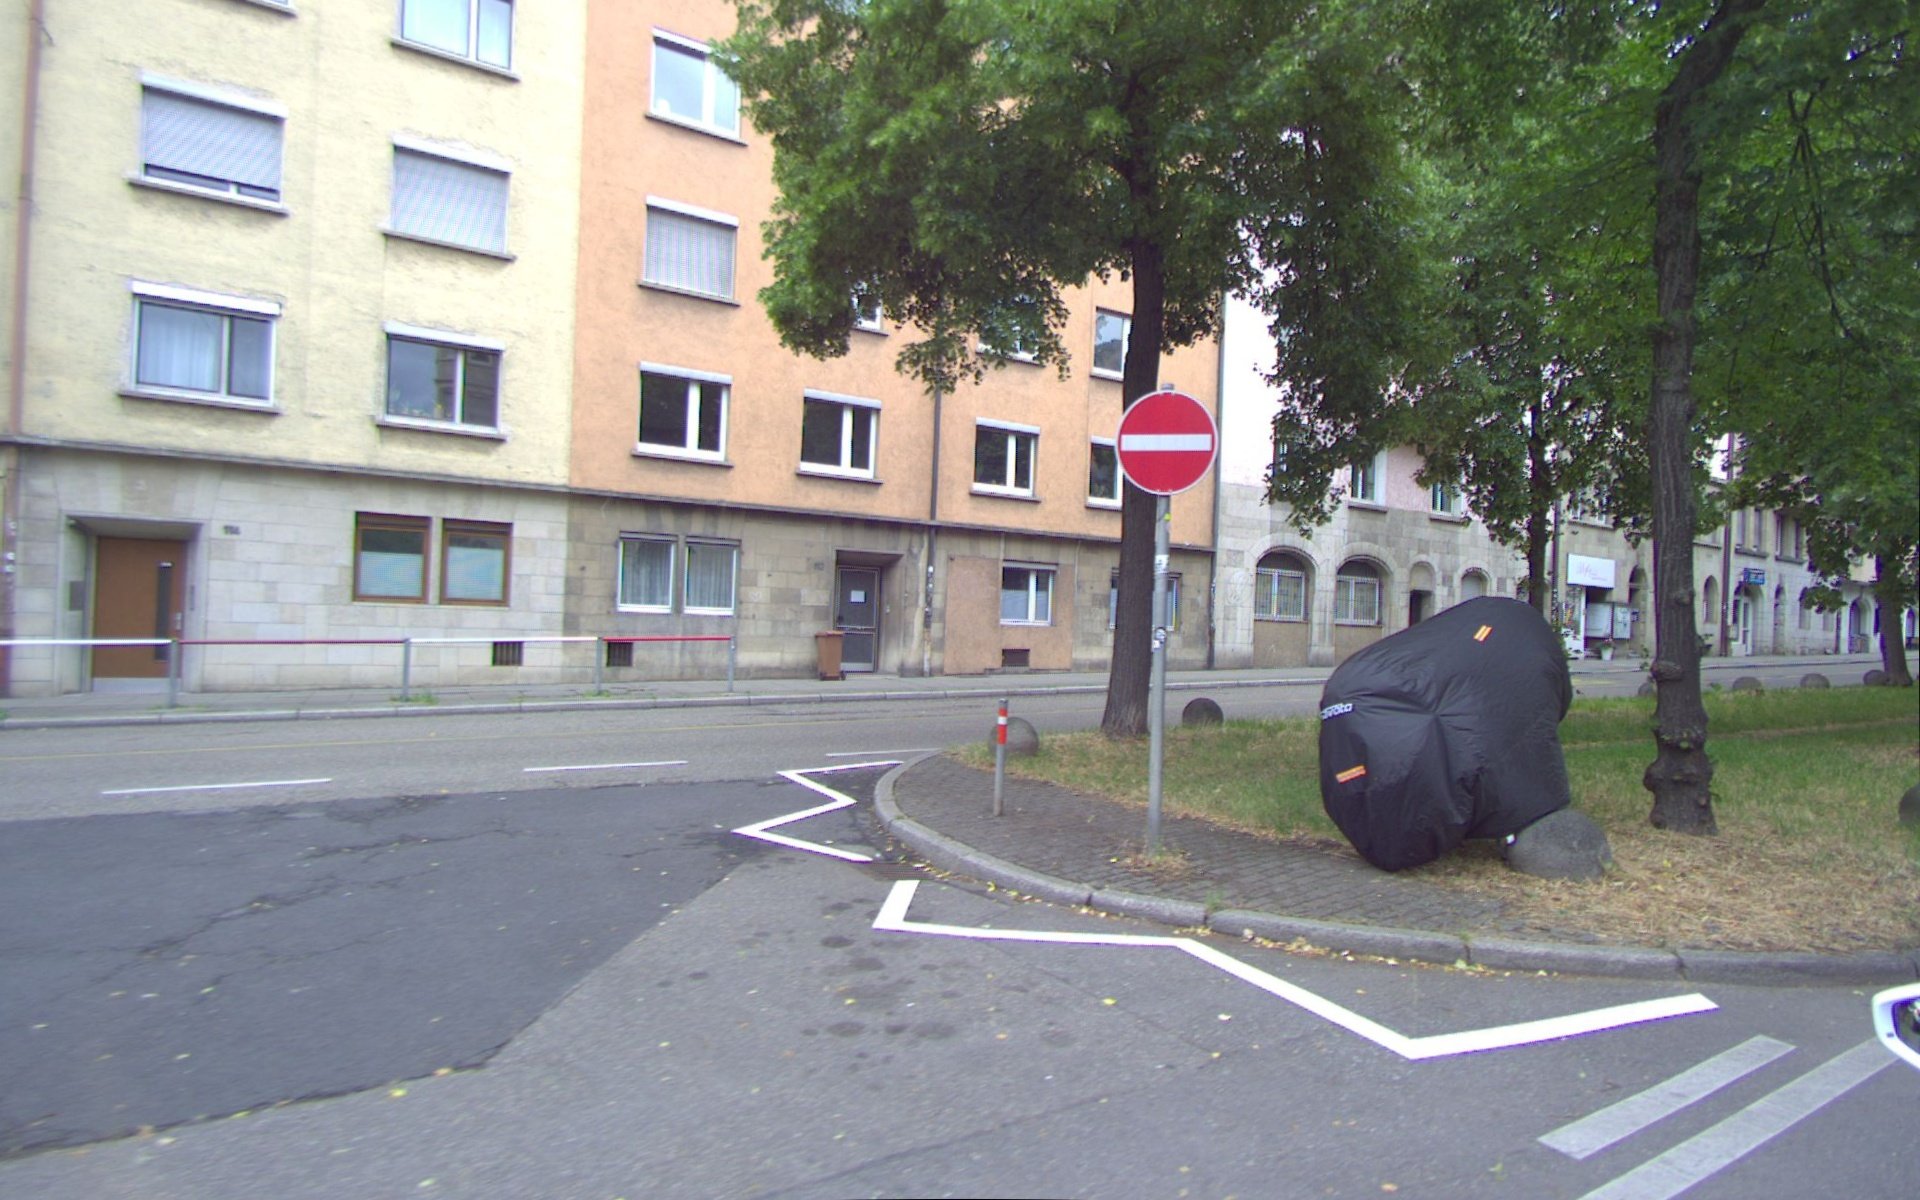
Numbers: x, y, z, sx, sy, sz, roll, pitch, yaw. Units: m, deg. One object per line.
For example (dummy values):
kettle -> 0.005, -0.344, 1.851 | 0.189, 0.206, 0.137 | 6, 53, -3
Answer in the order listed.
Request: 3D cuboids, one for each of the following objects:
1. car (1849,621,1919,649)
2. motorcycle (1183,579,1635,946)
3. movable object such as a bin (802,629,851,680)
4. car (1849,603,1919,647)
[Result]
car -> 57.357, 2.142, 61.256 | 2.026, 1.439, 4.262 | 1, 3, -33
motorcycle -> 2.478, 0.707, 5.400 | 2.592, 1.551, 0.820 | -2, 0, -30
movable object such as a bin -> -2.546, 1.030, 19.126 | 0.770, 0.939, 0.510 | 1, 1, -30
car -> 63.470, 1.691, 67.628 | 2.162, 2.773, 5.122 | 2, 1, -43
